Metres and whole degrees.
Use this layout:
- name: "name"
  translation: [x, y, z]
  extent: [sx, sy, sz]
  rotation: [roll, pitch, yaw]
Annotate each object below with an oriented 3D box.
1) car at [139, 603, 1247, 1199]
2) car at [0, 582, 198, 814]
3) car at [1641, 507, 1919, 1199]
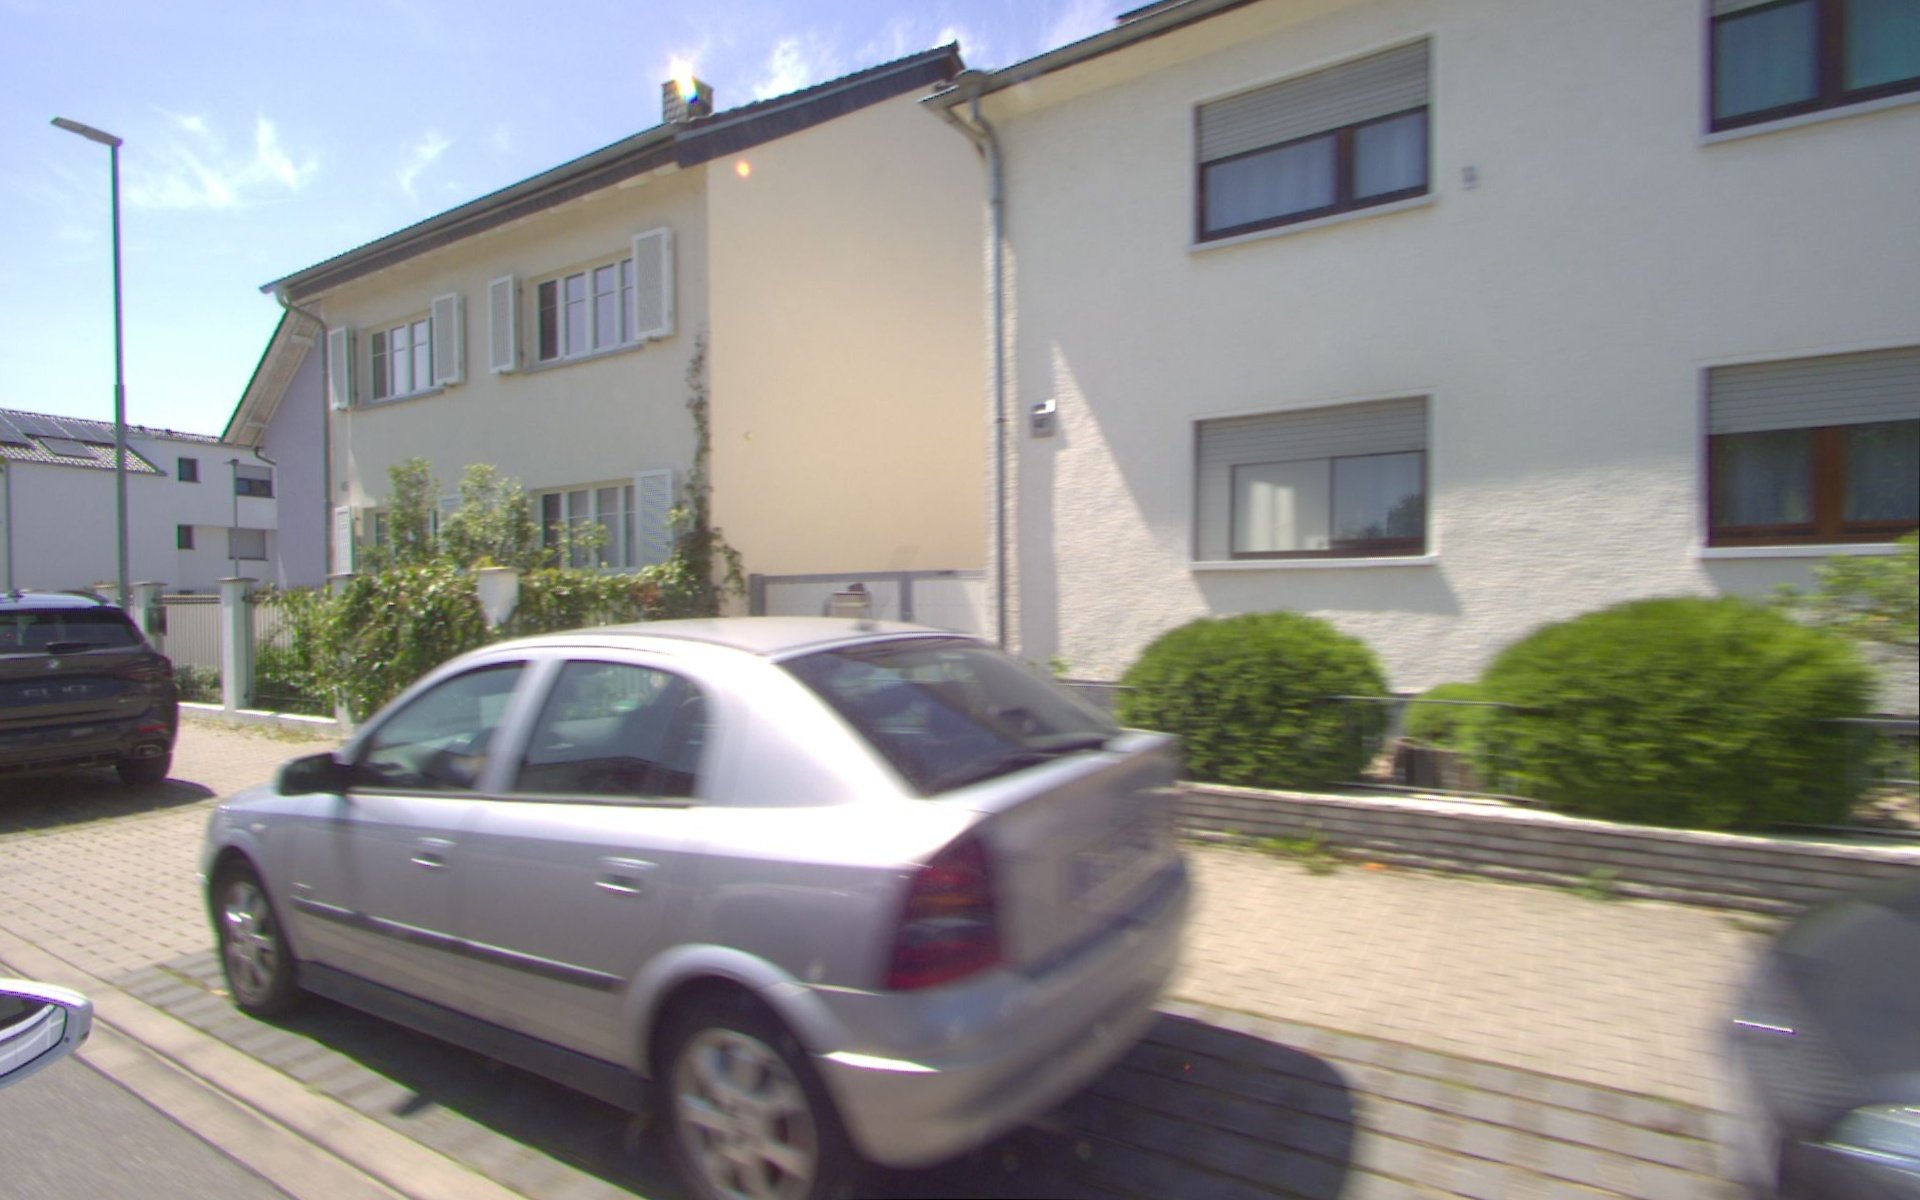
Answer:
- name: "car"
  translation: [-1.193, 0.744, 3.762]
  extent: [4.035, 1.439, 1.810]
  rotation: [0, 0, 33]
- name: "car"
  translation: [-8.654, 0.709, 8.736]
  extent: [4.500, 1.678, 1.810]
  rotation: [0, 1, 33]
- name: "car"
  translation: [3.287, 0.651, 0.827]
  extent: [4.383, 1.553, 1.739]
  rotation: [-1, 0, 31]
